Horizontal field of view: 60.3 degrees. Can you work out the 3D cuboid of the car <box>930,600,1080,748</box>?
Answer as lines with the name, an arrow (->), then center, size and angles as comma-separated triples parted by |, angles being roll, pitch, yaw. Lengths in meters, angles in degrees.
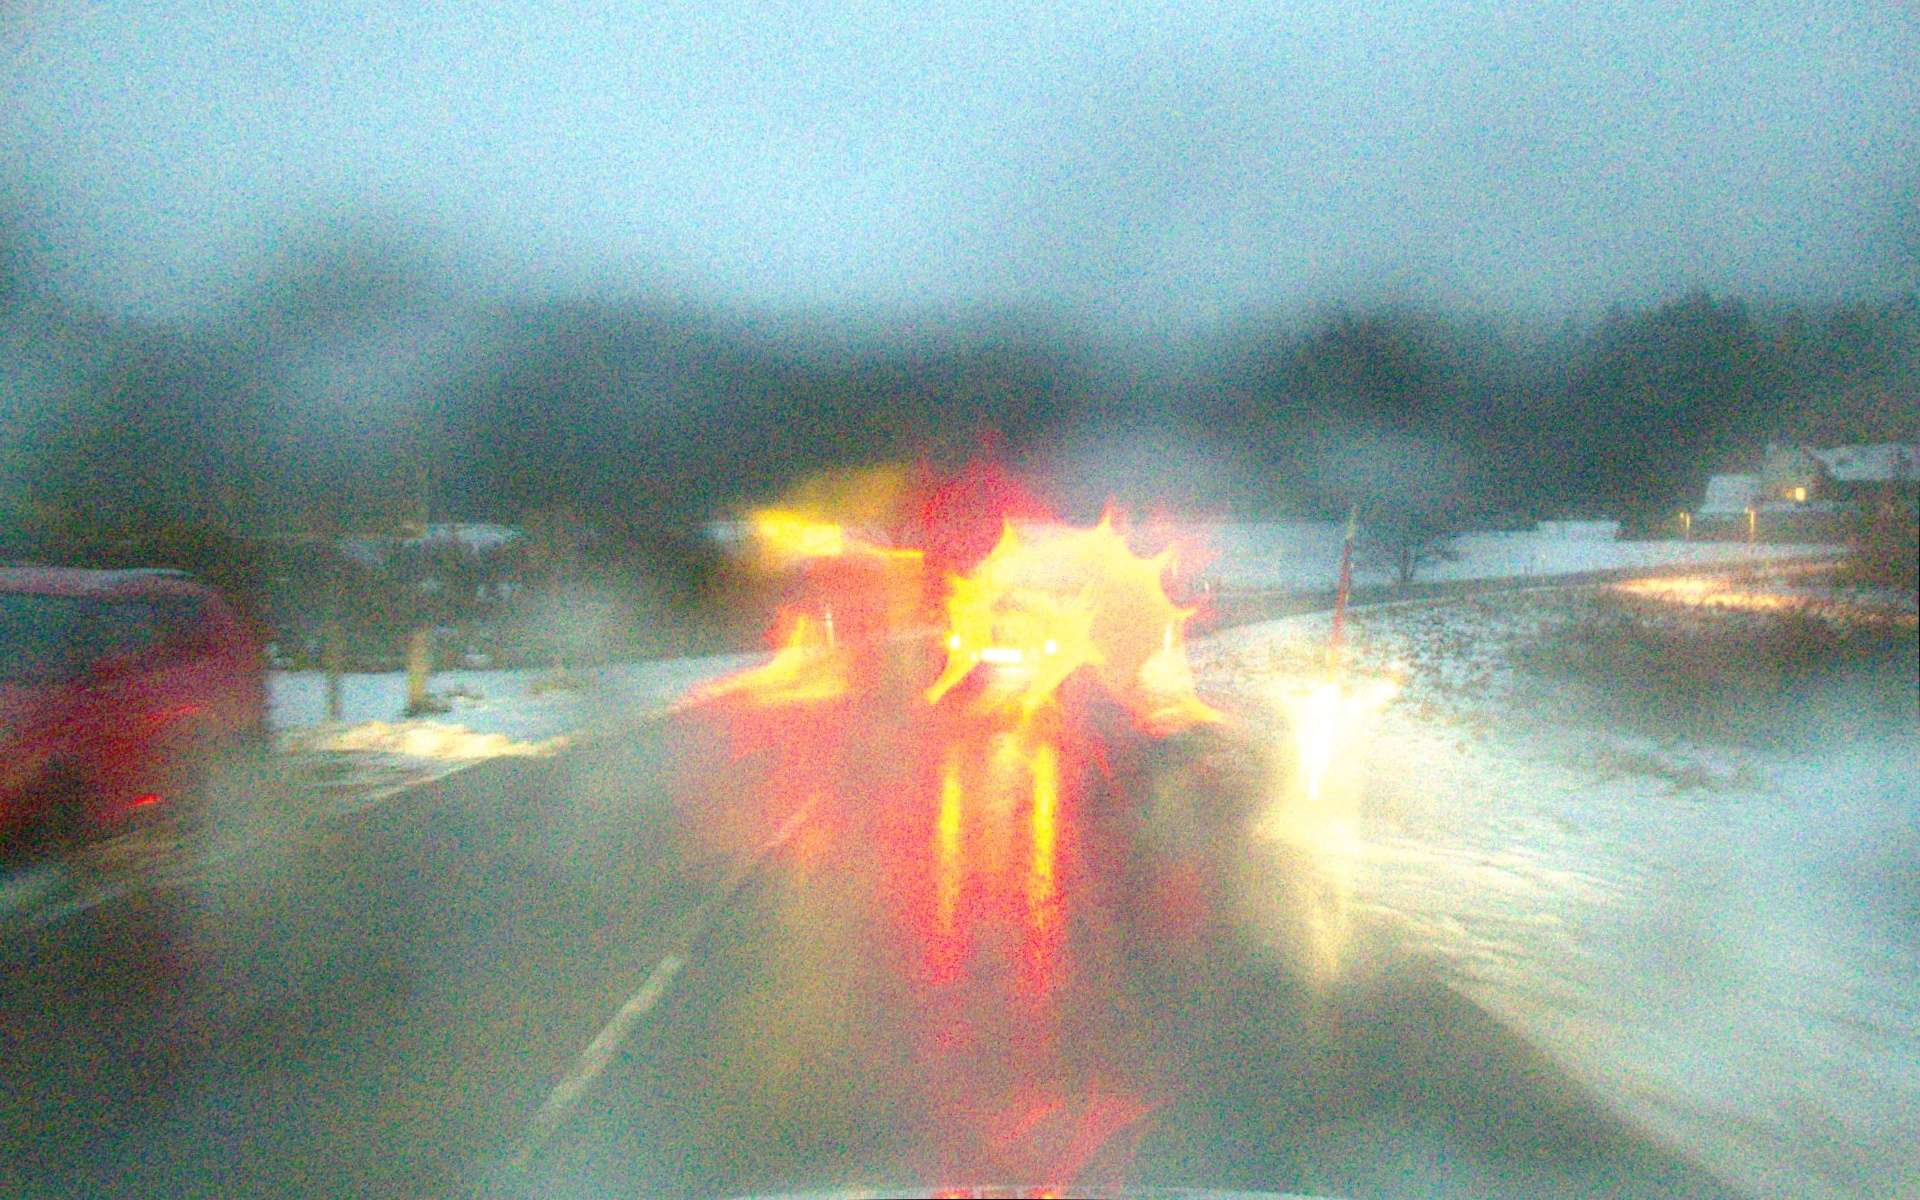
car -> 0.554, 0.975, 23.130 | 1.786, 1.828, 3.576 | 3, -1, -2

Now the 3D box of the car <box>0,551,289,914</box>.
car -> -5.031, 0.554, 8.685 | 1.684, 1.561, 3.515 | 0, 0, -2
